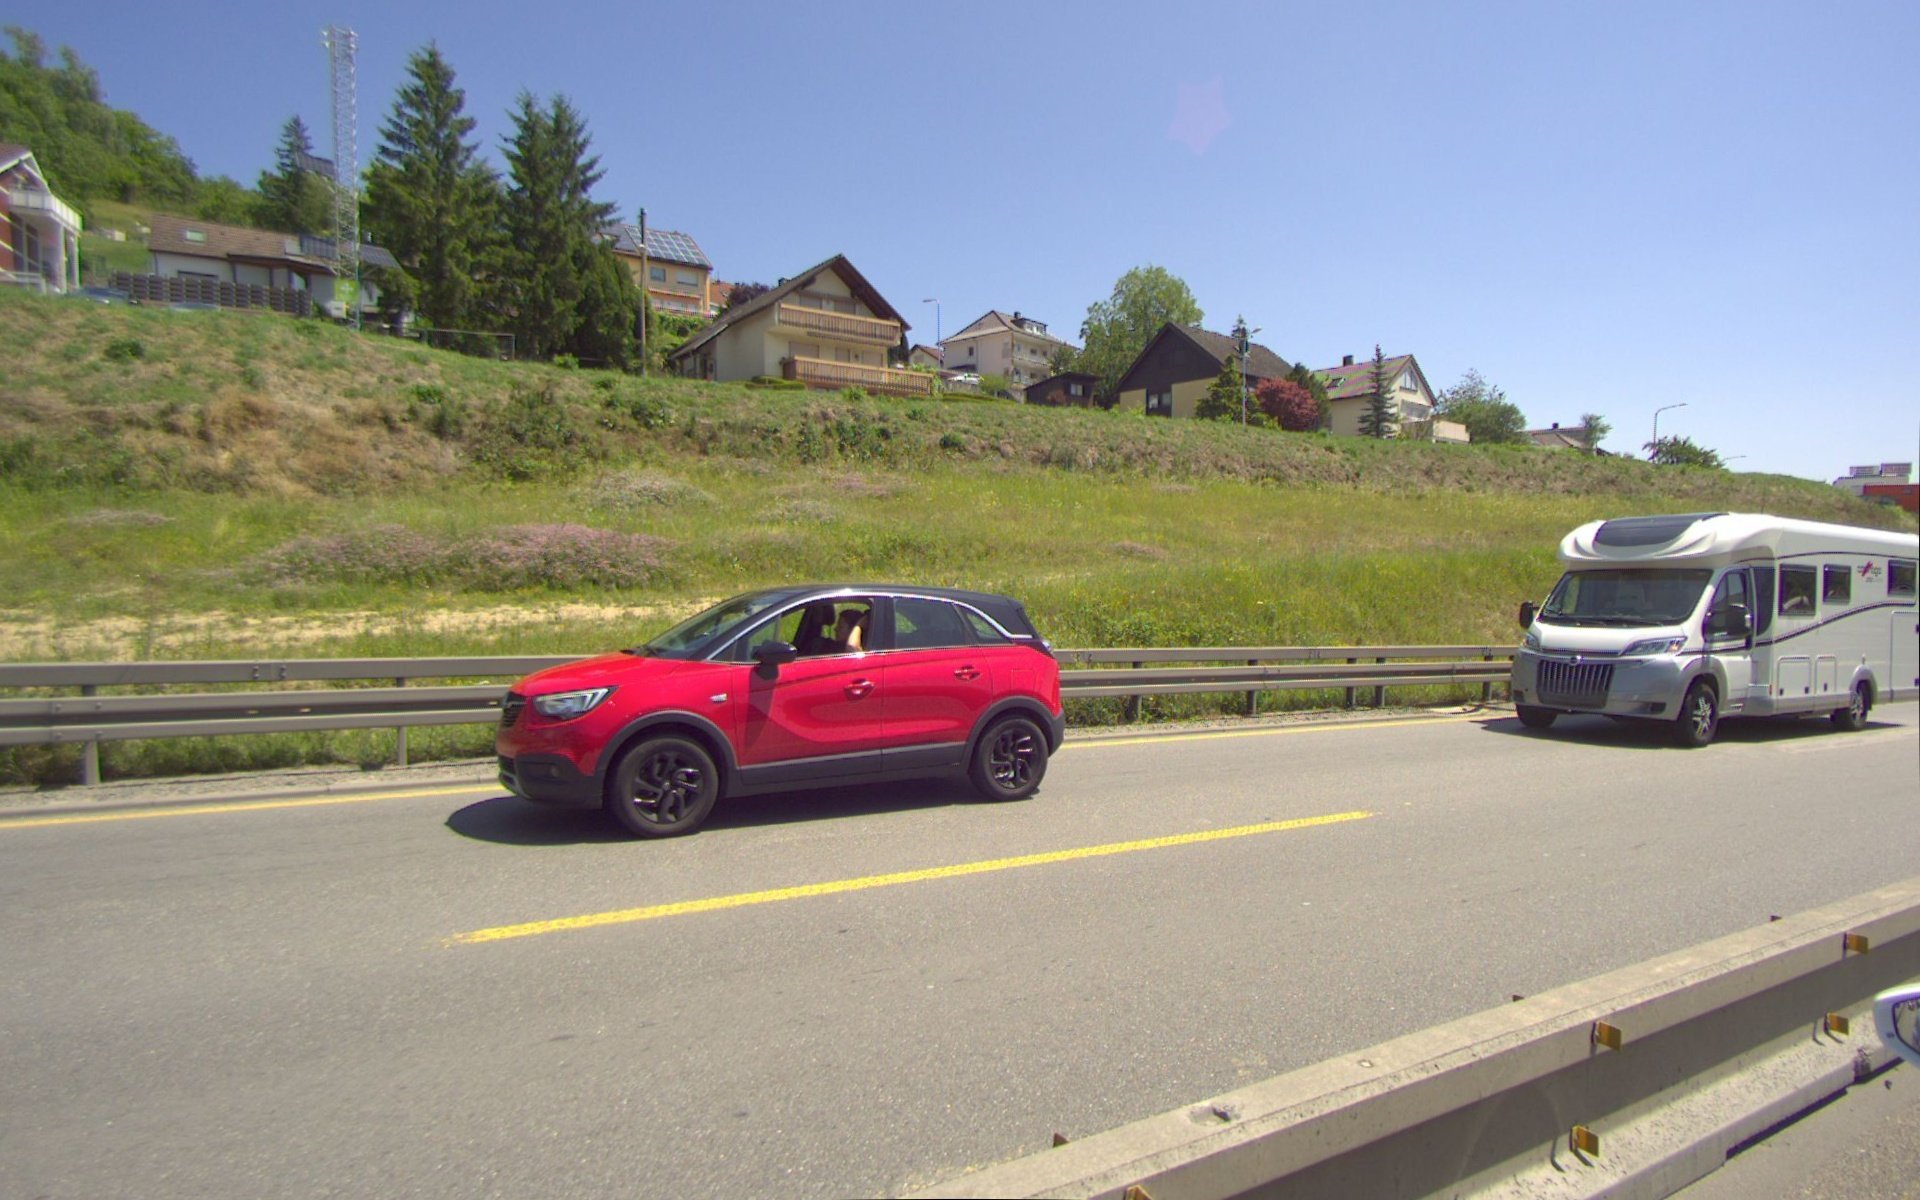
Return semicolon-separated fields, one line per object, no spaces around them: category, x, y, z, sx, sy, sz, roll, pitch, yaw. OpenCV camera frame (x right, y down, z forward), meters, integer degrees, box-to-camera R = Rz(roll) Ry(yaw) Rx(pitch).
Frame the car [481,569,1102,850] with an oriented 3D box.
car;-1.146;0.647;7.451;4.215;1.572;1.708;1;0;-31

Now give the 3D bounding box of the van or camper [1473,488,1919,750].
van or camper;10.344;0.264;13.720;7.429;2.814;2.323;1;0;-31
